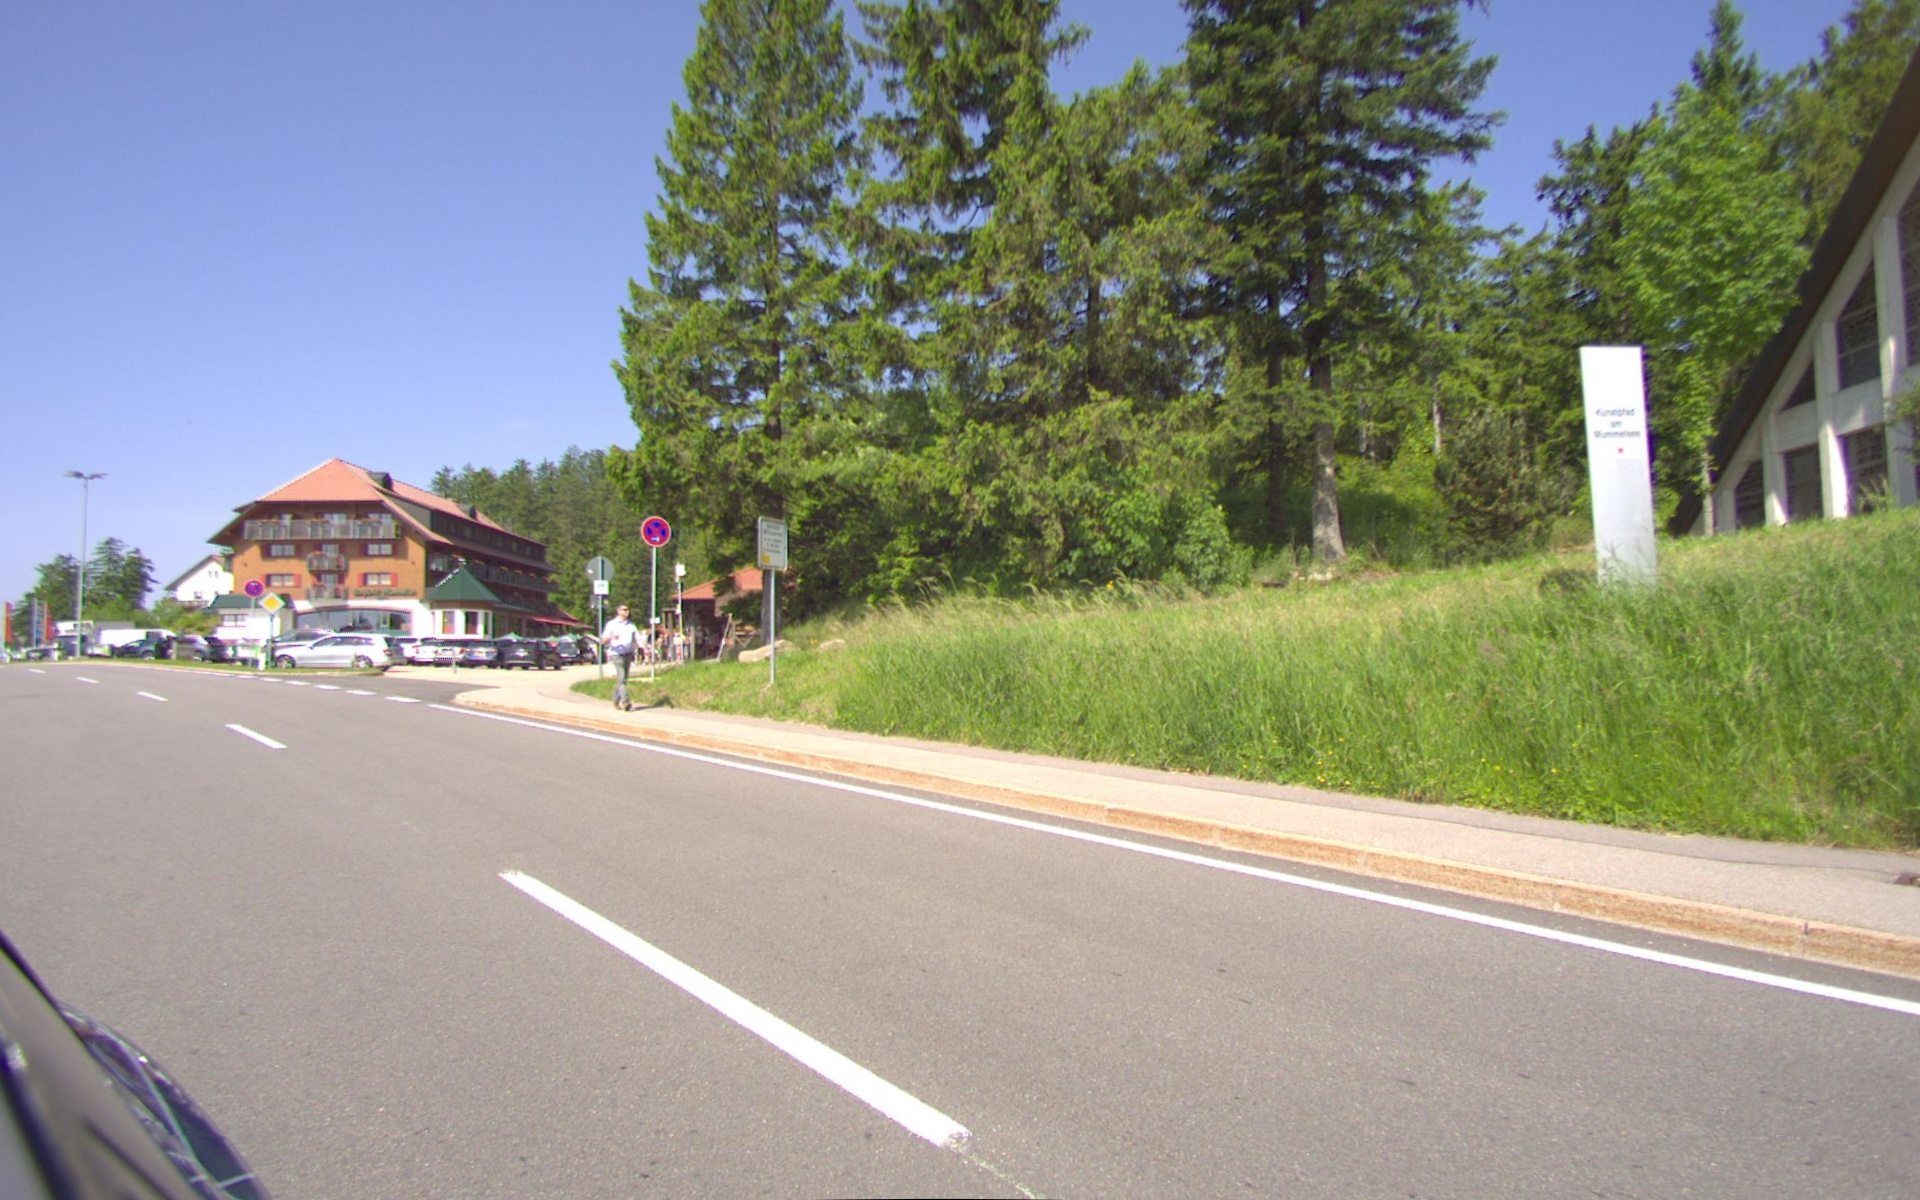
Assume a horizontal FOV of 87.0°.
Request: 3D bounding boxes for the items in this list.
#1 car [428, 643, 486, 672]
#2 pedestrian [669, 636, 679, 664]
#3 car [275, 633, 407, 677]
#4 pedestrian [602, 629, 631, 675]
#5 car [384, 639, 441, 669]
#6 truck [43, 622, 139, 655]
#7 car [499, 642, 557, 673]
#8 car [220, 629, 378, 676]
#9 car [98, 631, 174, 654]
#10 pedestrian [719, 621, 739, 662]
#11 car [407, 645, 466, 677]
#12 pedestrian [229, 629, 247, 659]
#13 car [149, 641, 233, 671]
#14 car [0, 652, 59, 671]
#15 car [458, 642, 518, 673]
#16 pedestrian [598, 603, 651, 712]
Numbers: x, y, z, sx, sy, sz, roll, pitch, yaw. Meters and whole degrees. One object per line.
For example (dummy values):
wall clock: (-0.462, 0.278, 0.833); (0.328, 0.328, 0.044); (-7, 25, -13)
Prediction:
car: (-25.526, 2.913, 51.461); (1.615, 1.445, 3.320); (0, -3, -7)
pedestrian: (-16.724, 2.933, 59.172); (0.514, 1.635, 0.538); (0, -2, -9)
car: (-23.515, 2.069, 38.583); (3.901, 1.600, 1.793); (0, -2, -8)
pedestrian: (-13.216, 1.980, 38.899); (0.900, 1.754, 0.637); (-1, -2, 0)
car: (-30.129, 2.944, 55.769); (1.689, 1.564, 3.138); (-1, -1, -5)
truck: (-80.113, 3.465, 93.576); (2.823, 2.851, 8.782); (-1, -1, -12)
car: (-20.473, 2.700, 48.095); (1.686, 1.406, 3.320); (0, -3, -7)
car: (-28.036, 2.193, 43.124); (5.275, 1.884, 2.005); (0, -2, -13)
car: (-73.430, 3.779, 90.234); (5.172, 1.920, 2.003); (1, -2, -40)
pedestrian: (-11.769, 2.115, 51.583); (0.883, 2.029, 0.789); (-1, -1, -6)
car: (-27.812, 3.212, 53.862); (1.704, 1.476, 3.527); (-1, -1, -8)
pedestrian: (-41.490, 2.504, 58.143); (0.768, 1.712, 0.684); (1, -2, -42)
car: (-42.346, 3.067, 55.765); (3.287, 1.604, 1.716); (0, -2, -1)
car: (-77.227, 5.068, 83.632); (1.999, 1.421, 3.944); (-2, -1, 42)
car: (-22.995, 2.803, 49.422); (1.692, 1.445, 3.320); (0, -3, -7)
pedestrian: (-5.580, 0.942, 16.833); (0.687, 1.754, 0.573); (-2, -3, 43)
